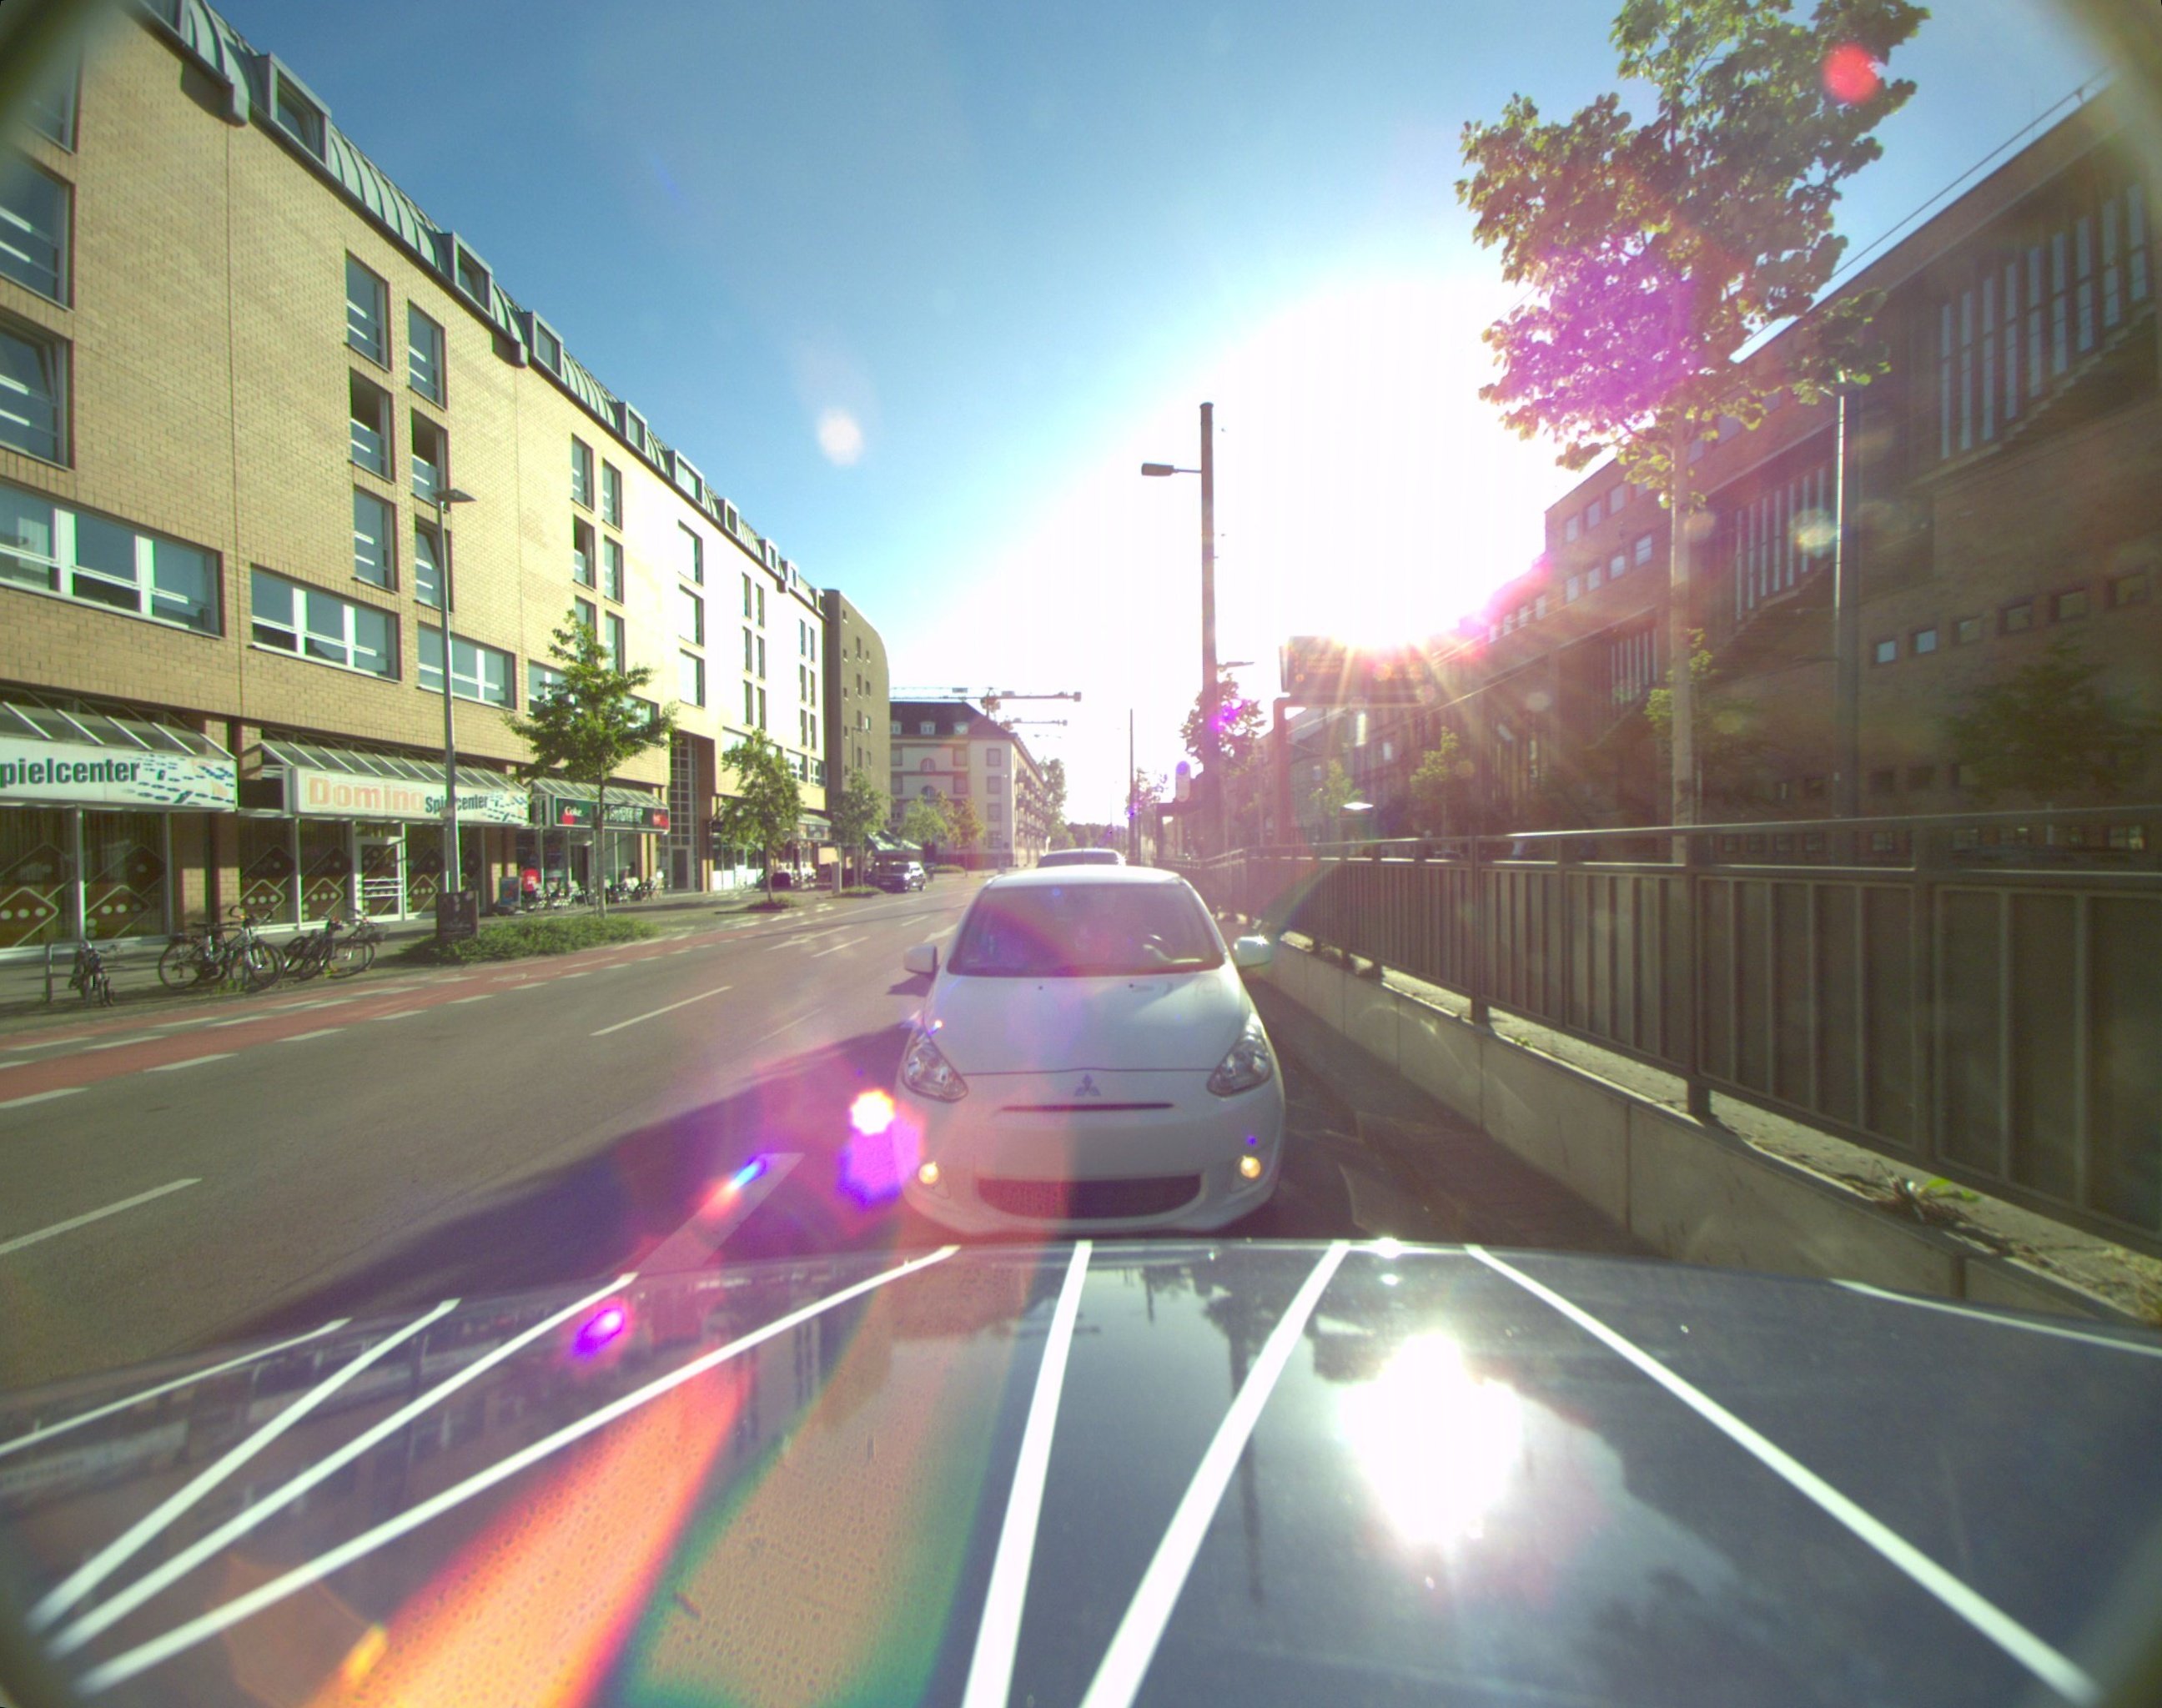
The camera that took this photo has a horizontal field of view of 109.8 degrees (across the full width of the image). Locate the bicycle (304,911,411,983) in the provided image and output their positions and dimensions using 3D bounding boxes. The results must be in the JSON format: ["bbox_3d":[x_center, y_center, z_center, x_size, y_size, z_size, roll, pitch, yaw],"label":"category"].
[{"bbox_3d":[-11.895,1.514,12.484,1.835,1.050,0.350,1,2,15],"label":"bicycle"}]

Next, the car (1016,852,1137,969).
[{"bbox_3d":[-0.071,0.838,13.397,1.720,1.591,4.215,-2,1,0],"label":"car"}]

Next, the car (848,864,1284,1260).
[{"bbox_3d":[-0.061,0.884,5.213,1.720,1.422,4.215,-2,1,0],"label":"car"}]

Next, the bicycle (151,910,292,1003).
[{"bbox_3d":[-12.362,1.450,10.933,1.835,1.156,0.565,1,2,15],"label":"bicycle"}]

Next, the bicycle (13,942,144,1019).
[{"bbox_3d":[-13.019,1.619,9.867,1.772,0.827,0.366,1,2,15],"label":"bicycle"}]

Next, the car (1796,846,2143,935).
[{"bbox_3d":[17.176,0.605,15.088,1.830,1.422,4.239,-2,1,-3],"label":"car"}]

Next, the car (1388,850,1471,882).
[{"bbox_3d":[17.135,0.561,37.649,1.830,1.422,4.528,-1,0,-3],"label":"car"}]

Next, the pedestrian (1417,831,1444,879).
[{"bbox_3d":[13.479,0.031,29.315,0.685,1.797,0.668,-2,2,0],"label":"pedestrian"}]

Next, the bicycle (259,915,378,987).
[{"bbox_3d":[-12.053,1.517,12.011,1.835,0.980,0.449,1,2,15],"label":"bicycle"}]

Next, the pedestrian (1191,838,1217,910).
[{"bbox_3d":[4.226,0.676,26.175,0.684,2.428,0.626,-2,2,-2],"label":"pedestrian"}]

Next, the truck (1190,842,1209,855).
[{"bbox_3d":[17.652,-0.847,113.642,1.999,1.868,5.155,1,0,0],"label":"truck"}]

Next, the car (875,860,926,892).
[{"bbox_3d":[-9.829,1.152,41.706,1.779,1.630,4.000,-1,0,1],"label":"car"}]
